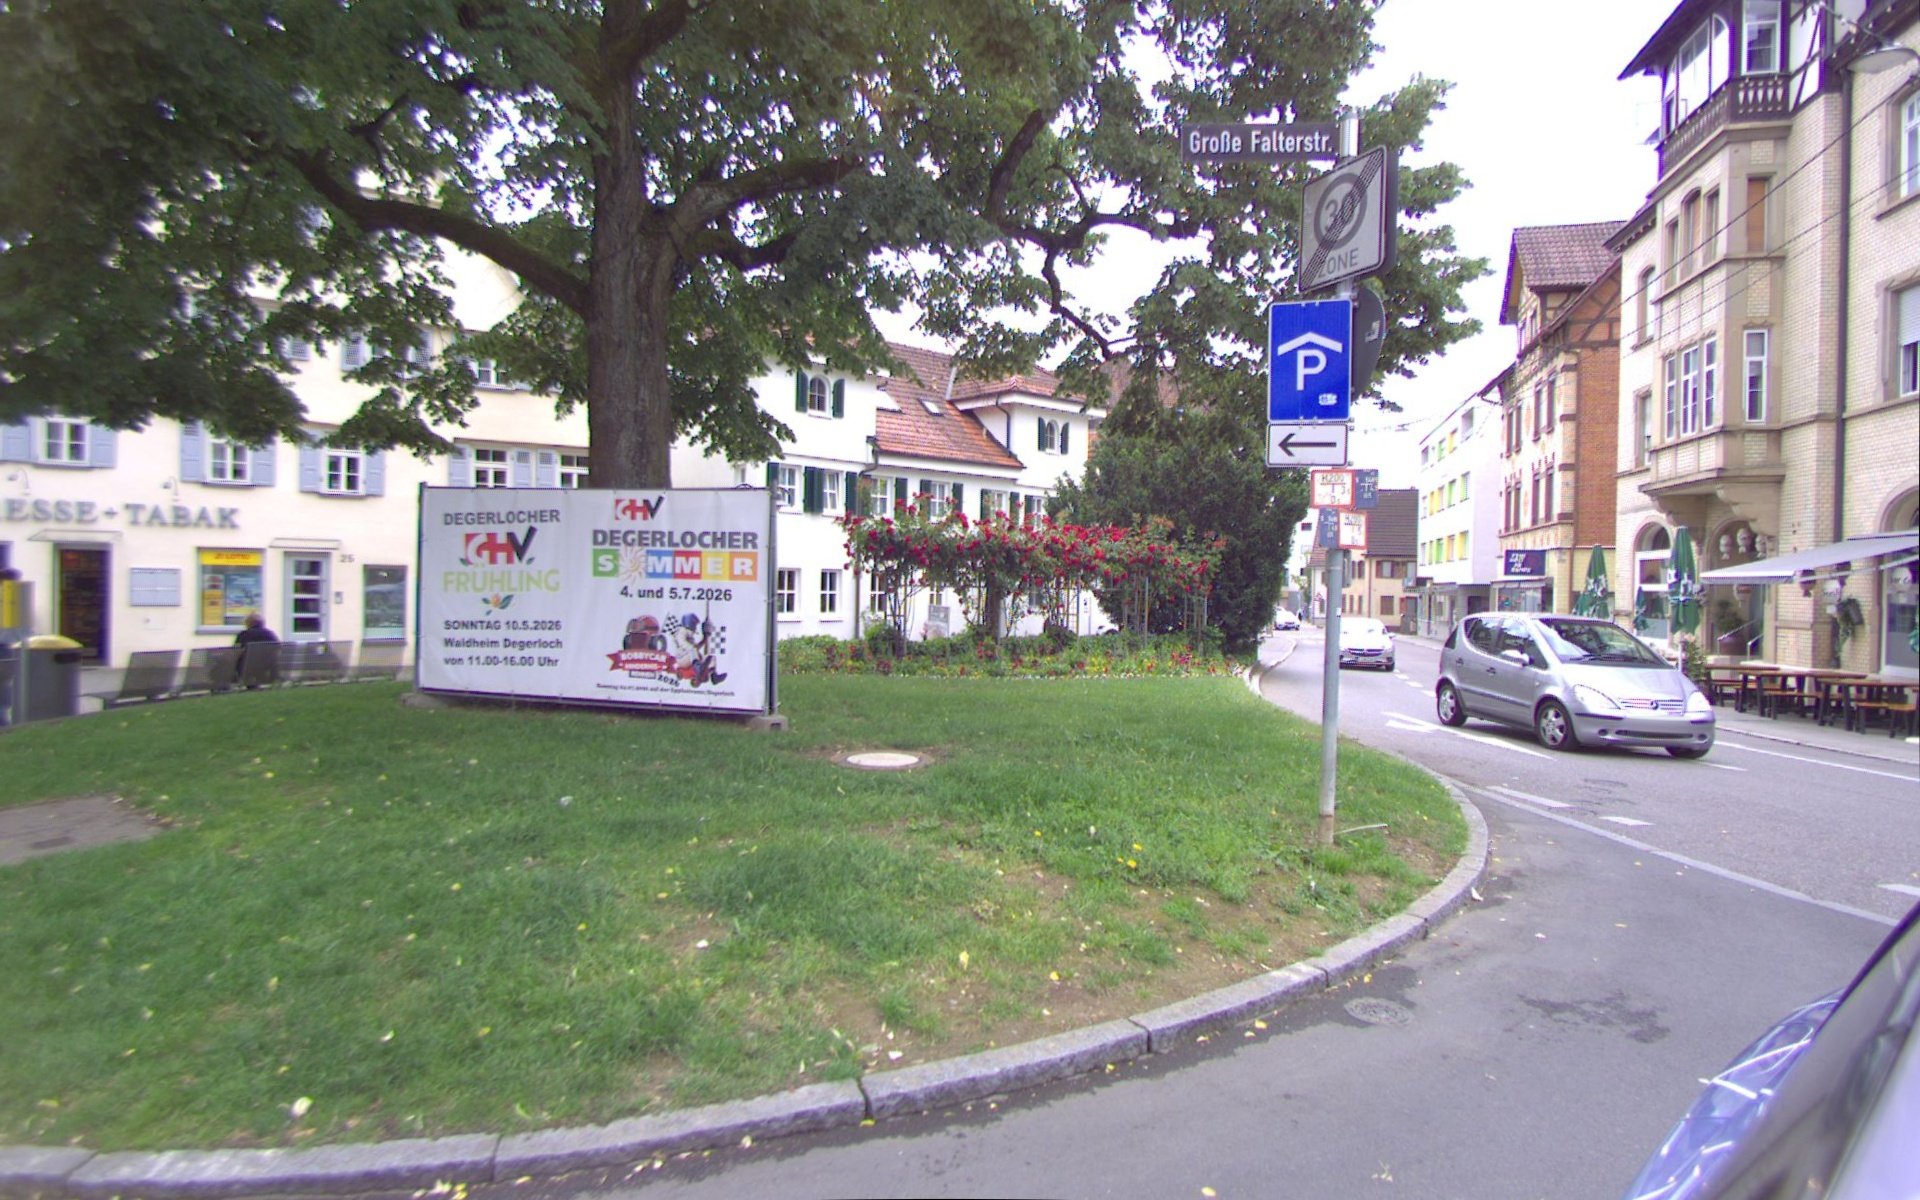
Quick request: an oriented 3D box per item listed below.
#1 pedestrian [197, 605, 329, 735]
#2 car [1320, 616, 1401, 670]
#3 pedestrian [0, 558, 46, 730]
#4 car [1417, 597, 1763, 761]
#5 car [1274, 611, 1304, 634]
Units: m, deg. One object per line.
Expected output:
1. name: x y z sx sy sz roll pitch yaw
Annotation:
1. pedestrian: -8.050 0.769 11.708 0.848 1.398 0.966 0 0 25
2. car: 11.771 1.216 29.966 1.731 1.372 3.981 1 0 15
3. pedestrian: -10.106 0.449 10.592 0.782 1.766 0.710 1 0 -42
4. car: 7.607 0.830 12.780 1.861 1.648 3.999 2 0 1
5. car: 25.748 1.717 79.321 1.973 1.647 3.983 0 1 14
